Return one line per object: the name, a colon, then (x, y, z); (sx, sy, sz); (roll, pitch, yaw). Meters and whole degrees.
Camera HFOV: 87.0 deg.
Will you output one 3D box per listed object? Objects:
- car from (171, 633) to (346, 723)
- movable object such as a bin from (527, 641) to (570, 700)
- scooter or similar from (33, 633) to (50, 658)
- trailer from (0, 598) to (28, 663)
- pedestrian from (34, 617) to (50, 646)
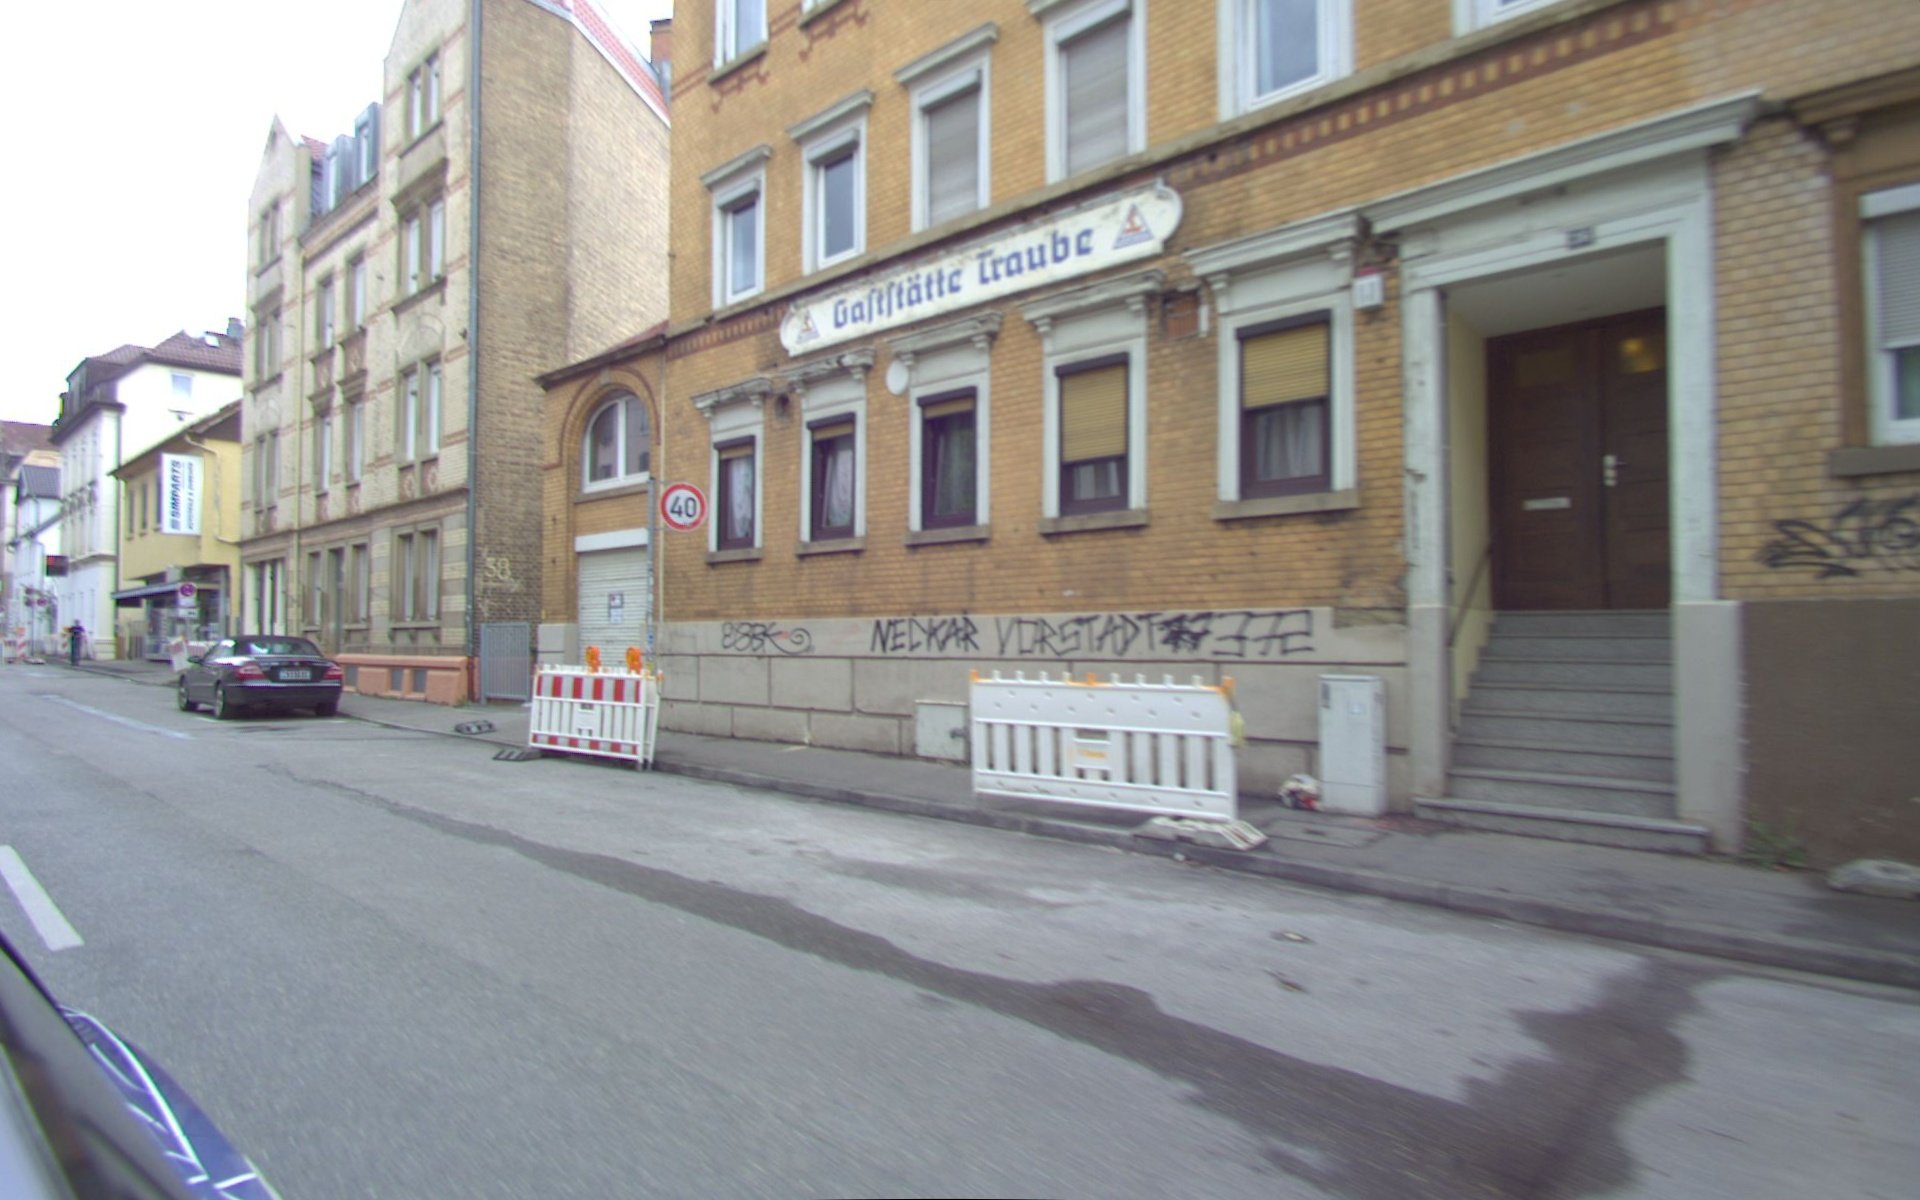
car: (-12.526, 1.309, 17.966); (4.353, 1.393, 1.562); (-1, -4, 42)
movable object such as a bin: (-7.809, 1.325, 19.186); (0.667, 1.057, 0.498); (-2, -1, 41)
scooter or similar: (-50.523, 2.499, 55.687); (1.227, 1.300, 0.554); (-1, -1, 41)
trailer: (-44.163, 1.365, 45.756); (6.303, 2.825, 2.418); (-1, -4, 43)
pedestrian: (-50.547, 1.733, 55.709); (0.607, 1.578, 0.594); (-1, -1, 41)
